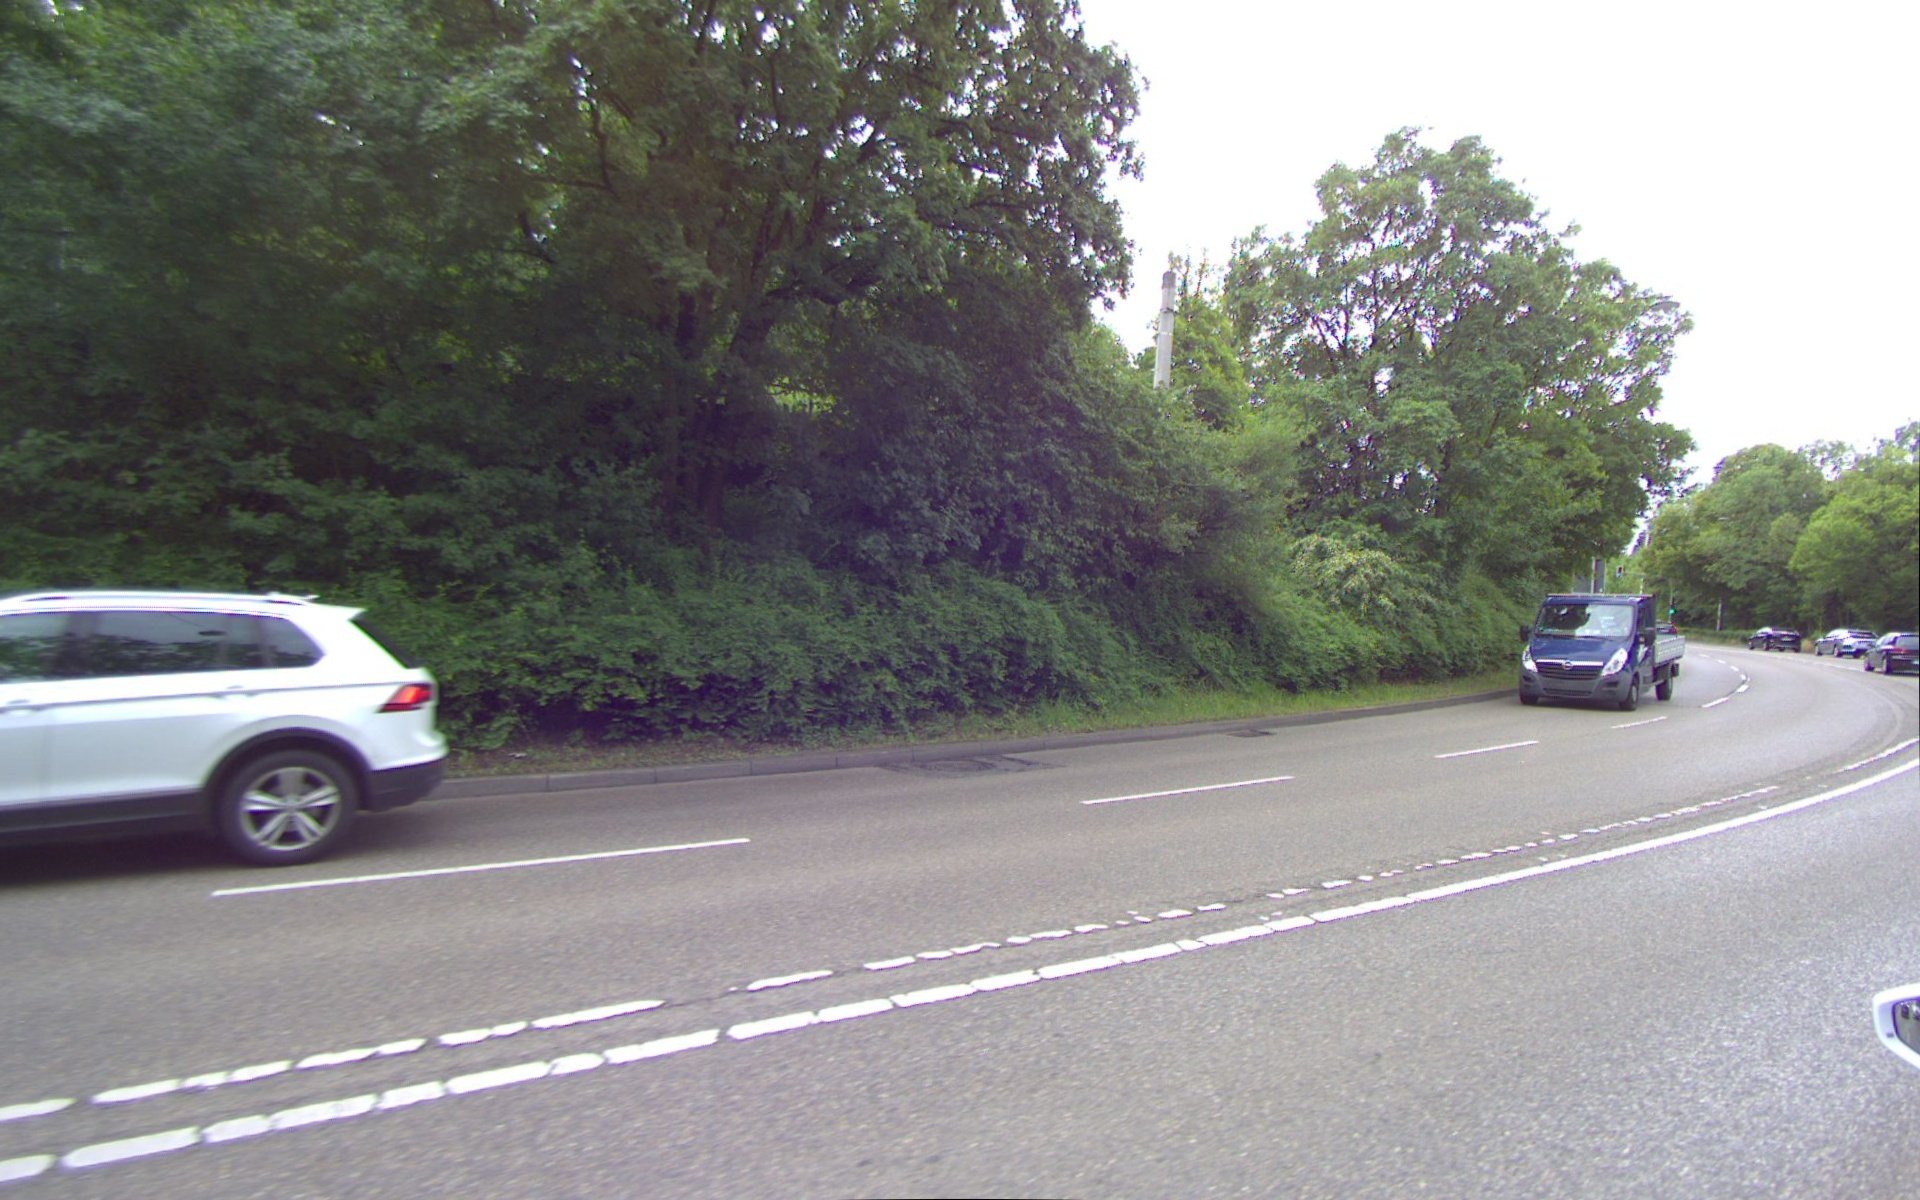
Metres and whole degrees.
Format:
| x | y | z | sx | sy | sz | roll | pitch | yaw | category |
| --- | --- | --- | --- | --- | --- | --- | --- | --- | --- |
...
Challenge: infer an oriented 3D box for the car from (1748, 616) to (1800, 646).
| x | y | z | sx | sy | sz | roll | pitch | yaw | category |
| --- | --- | --- | --- | --- | --- | --- | --- | --- | --- |
| 50.004 | 1.850 | 61.761 | 1.740 | 1.628 | 3.993 | 4 | 2 | 29 | car |

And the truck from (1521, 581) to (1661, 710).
| x | y | z | sx | sy | sz | roll | pitch | yaw | category |
| --- | --- | --- | --- | --- | --- | --- | --- | --- | --- |
| 13.971 | 0.924 | 22.015 | 2.133 | 2.402 | 6.654 | -1 | -1 | 36 | truck |

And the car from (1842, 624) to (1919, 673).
| x | y | z | sx | sy | sz | roll | pitch | yaw | category |
| --- | --- | --- | --- | --- | --- | --- | --- | --- | --- |
| 32.760 | 1.689 | 35.036 | 1.919 | 1.486 | 3.995 | 4 | 2 | 26 | car |

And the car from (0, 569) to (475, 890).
| x | y | z | sx | sy | sz | roll | pitch | yaw | category |
| --- | --- | --- | --- | --- | --- | --- | --- | --- | --- |
| -5.556 | 0.741 | 6.236 | 4.389 | 1.716 | 1.846 | 2 | -4 | -33 | car |
